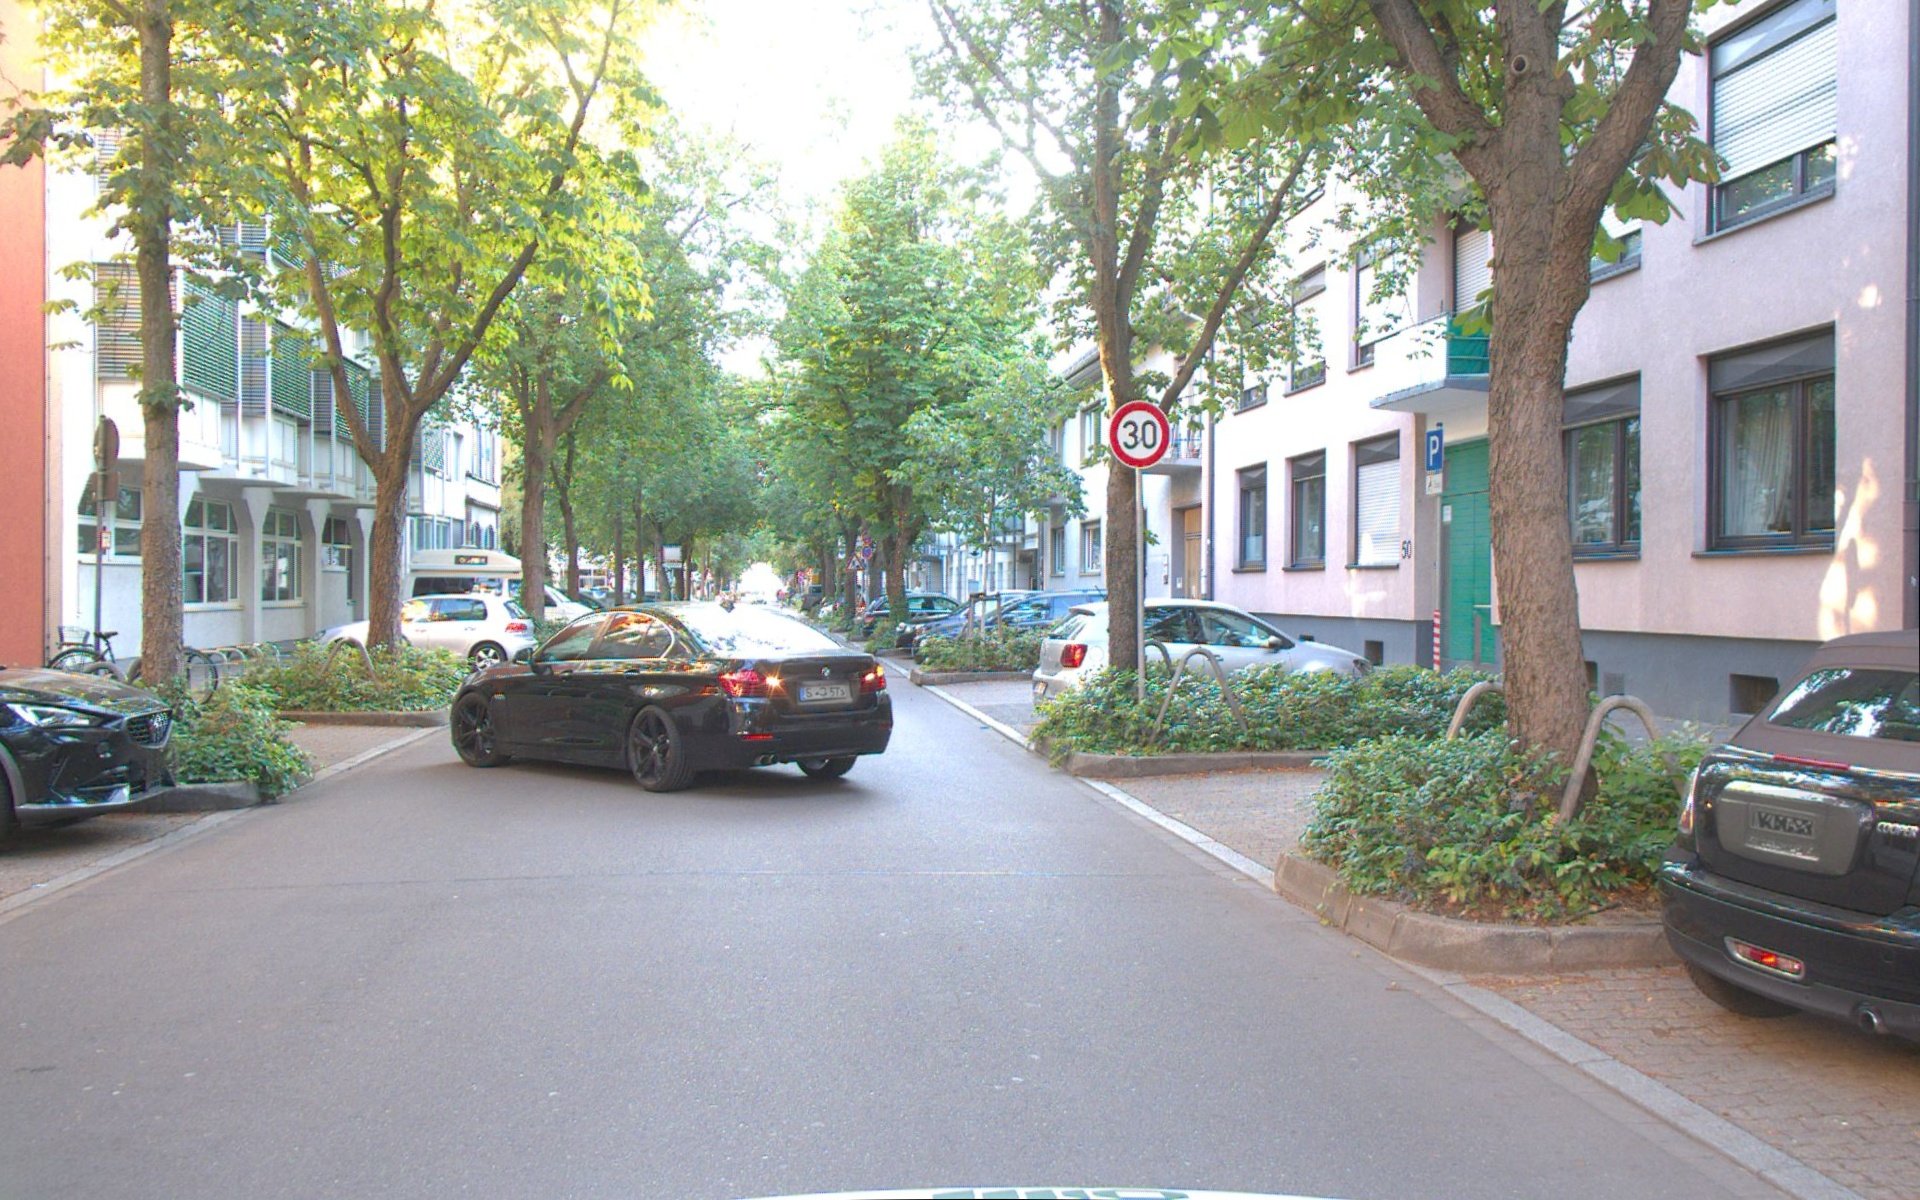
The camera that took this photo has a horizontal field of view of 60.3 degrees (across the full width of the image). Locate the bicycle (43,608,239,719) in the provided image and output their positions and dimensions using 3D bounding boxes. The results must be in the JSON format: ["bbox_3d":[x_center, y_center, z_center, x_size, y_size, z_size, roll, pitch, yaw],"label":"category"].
[{"bbox_3d":[-9.330,0.708,18.910,1.939,1.220,0.499,0,0,-18],"label":"bicycle"}]

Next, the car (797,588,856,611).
[{"bbox_3d":[-8.328,-0.030,103.083,3.589,1.417,1.562,0,0,-9],"label":"car"}]

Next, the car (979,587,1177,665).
[{"bbox_3d":[2.275,0.485,32.294,3.589,1.417,1.562,-1,0,-9],"label":"car"}]

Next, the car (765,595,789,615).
[{"bbox_3d":[-14.929,0.434,134.820,1.956,1.579,3.994,0,0,-7],"label":"car"}]

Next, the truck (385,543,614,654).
[{"bbox_3d":[-10.807,-0.045,39.115,4.903,2.483,1.914,1,1,-6],"label":"truck"}]

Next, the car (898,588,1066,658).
[{"bbox_3d":[0.489,0.513,38.620,3.722,1.556,1.562,-1,0,-9],"label":"car"}]

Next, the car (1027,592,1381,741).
[{"bbox_3d":[2.660,0.694,18.375,3.589,1.505,1.562,-1,0,-9],"label":"car"}]

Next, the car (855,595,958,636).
[{"bbox_3d":[-1.954,0.551,60.273,3.589,1.417,1.562,-1,0,-9],"label":"car"}]

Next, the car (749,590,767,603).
[{"bbox_3d":[-22.735,-0.405,186.316,1.858,1.500,3.995,0,0,-6],"label":"car"}]

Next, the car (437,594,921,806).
[{"bbox_3d":[-2.527,0.701,14.002,1.755,1.475,4.591,0,1,-45],"label":"car"}]

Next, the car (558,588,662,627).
[{"bbox_3d":[-14.090,0.296,66.689,3.945,1.497,1.638,1,0,-7],"label":"car"}]

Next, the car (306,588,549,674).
[{"bbox_3d":[-9.856,0.560,30.859,4.054,1.497,1.638,1,0,-7],"label":"car"}]

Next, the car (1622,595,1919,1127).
[{"bbox_3d":[4.376,0.687,5.626,3.638,1.452,1.622,-3,1,-12],"label":"car"}]

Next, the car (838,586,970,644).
[{"bbox_3d":[-1.613,0.413,47.213,3.589,1.563,1.562,-1,0,-9],"label":"car"}]

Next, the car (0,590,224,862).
[{"bbox_3d":[-7.085,0.697,10.187,4.274,1.535,1.832,1,0,-7],"label":"car"}]
